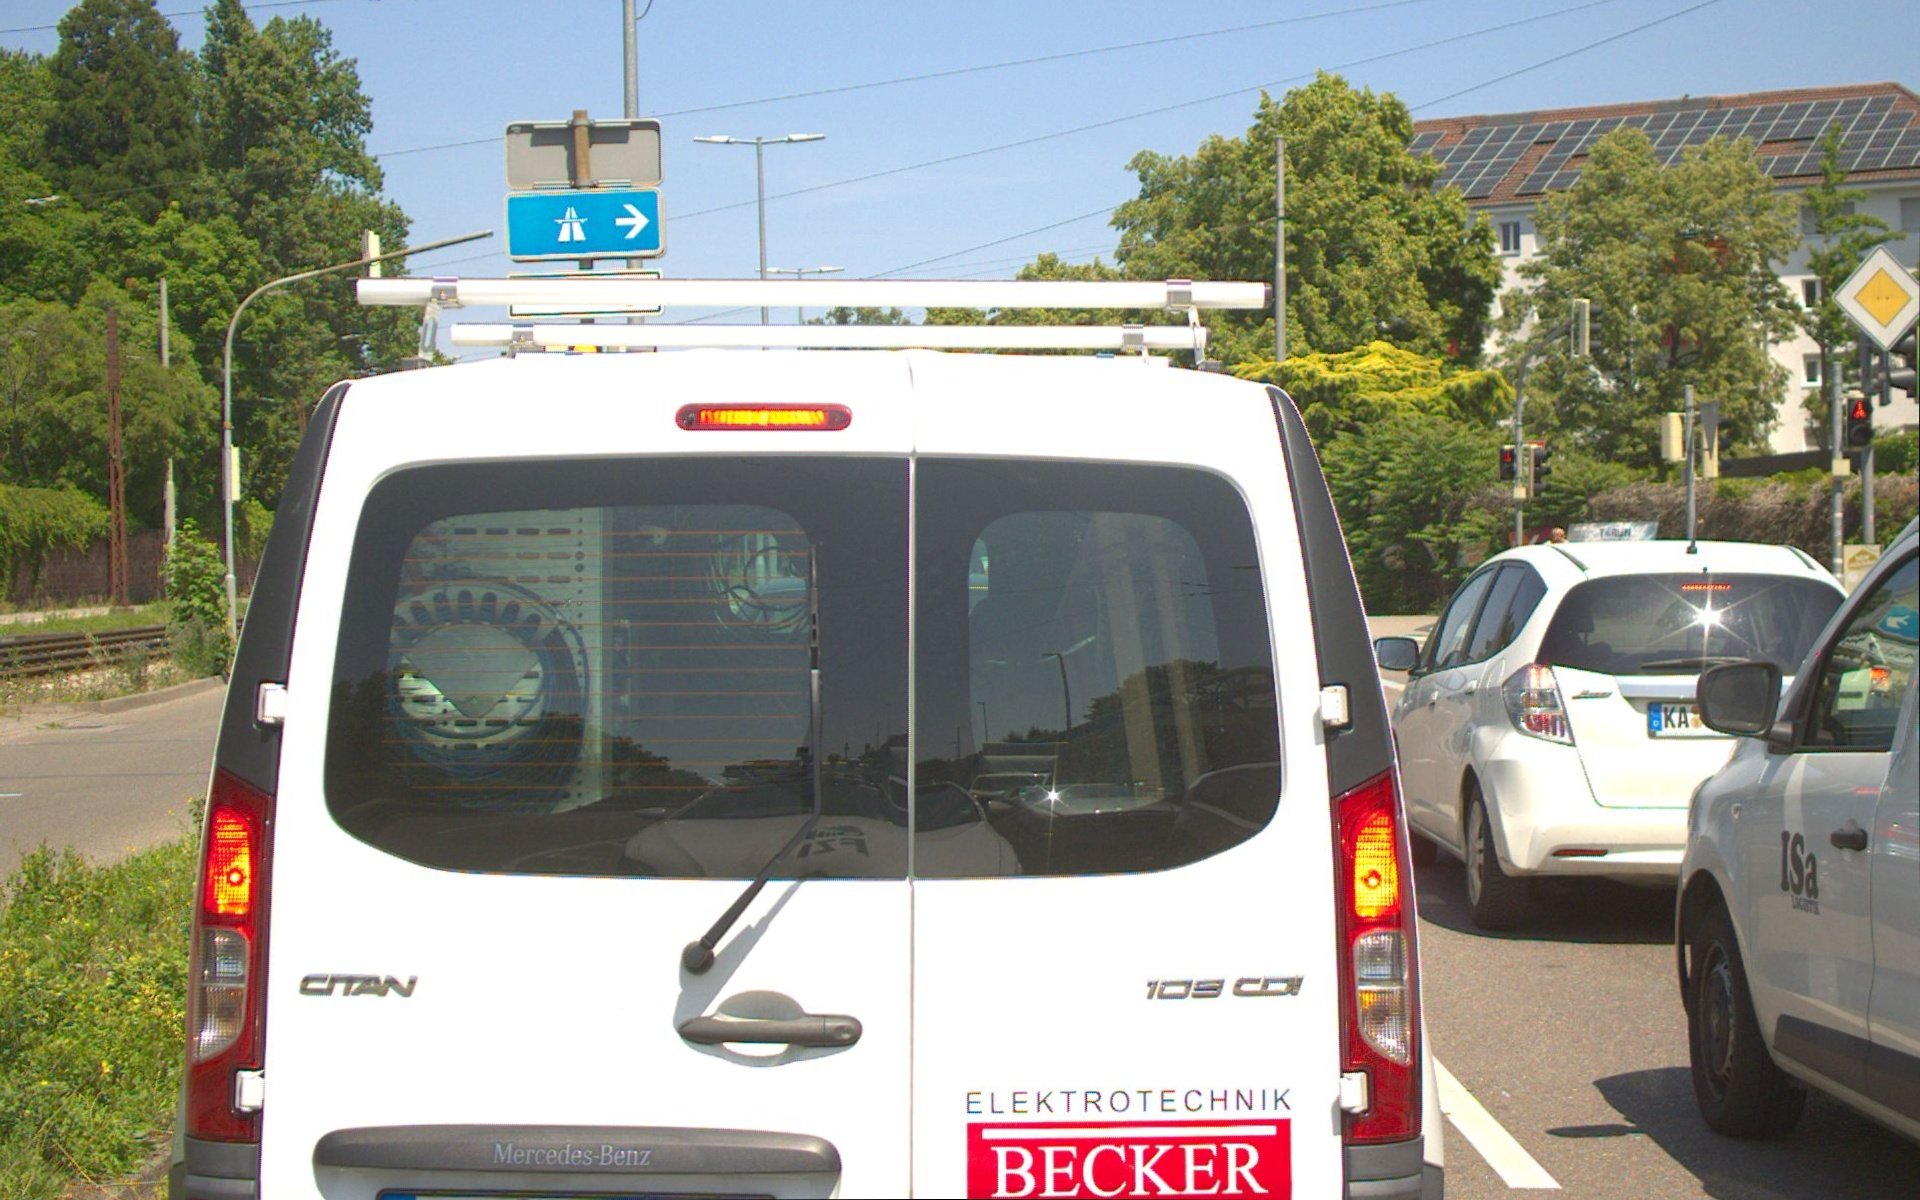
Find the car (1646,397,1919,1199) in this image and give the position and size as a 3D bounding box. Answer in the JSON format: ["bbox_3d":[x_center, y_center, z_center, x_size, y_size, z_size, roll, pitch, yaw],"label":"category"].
[{"bbox_3d":[2.769,0.504,7.225,1.710,1.824,4.014,0,1,-2],"label":"car"}]

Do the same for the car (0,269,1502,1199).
[{"bbox_3d":[-0.310,0.482,6.205,1.866,1.829,3.849,1,1,-1],"label":"car"}]

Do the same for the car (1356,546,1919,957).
[{"bbox_3d":[2.817,0.526,14.599,1.756,1.481,4.000,1,1,-1],"label":"car"}]

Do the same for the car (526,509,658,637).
[{"bbox_3d":[-6.092,-0.462,56.535,1.993,2.007,4.001,-1,1,-8],"label":"car"}]

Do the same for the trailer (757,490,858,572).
[{"bbox_3d":[-7.841,-3.498,175.675,3.527,4.037,8.980,-1,1,-13],"label":"trailer"}]
